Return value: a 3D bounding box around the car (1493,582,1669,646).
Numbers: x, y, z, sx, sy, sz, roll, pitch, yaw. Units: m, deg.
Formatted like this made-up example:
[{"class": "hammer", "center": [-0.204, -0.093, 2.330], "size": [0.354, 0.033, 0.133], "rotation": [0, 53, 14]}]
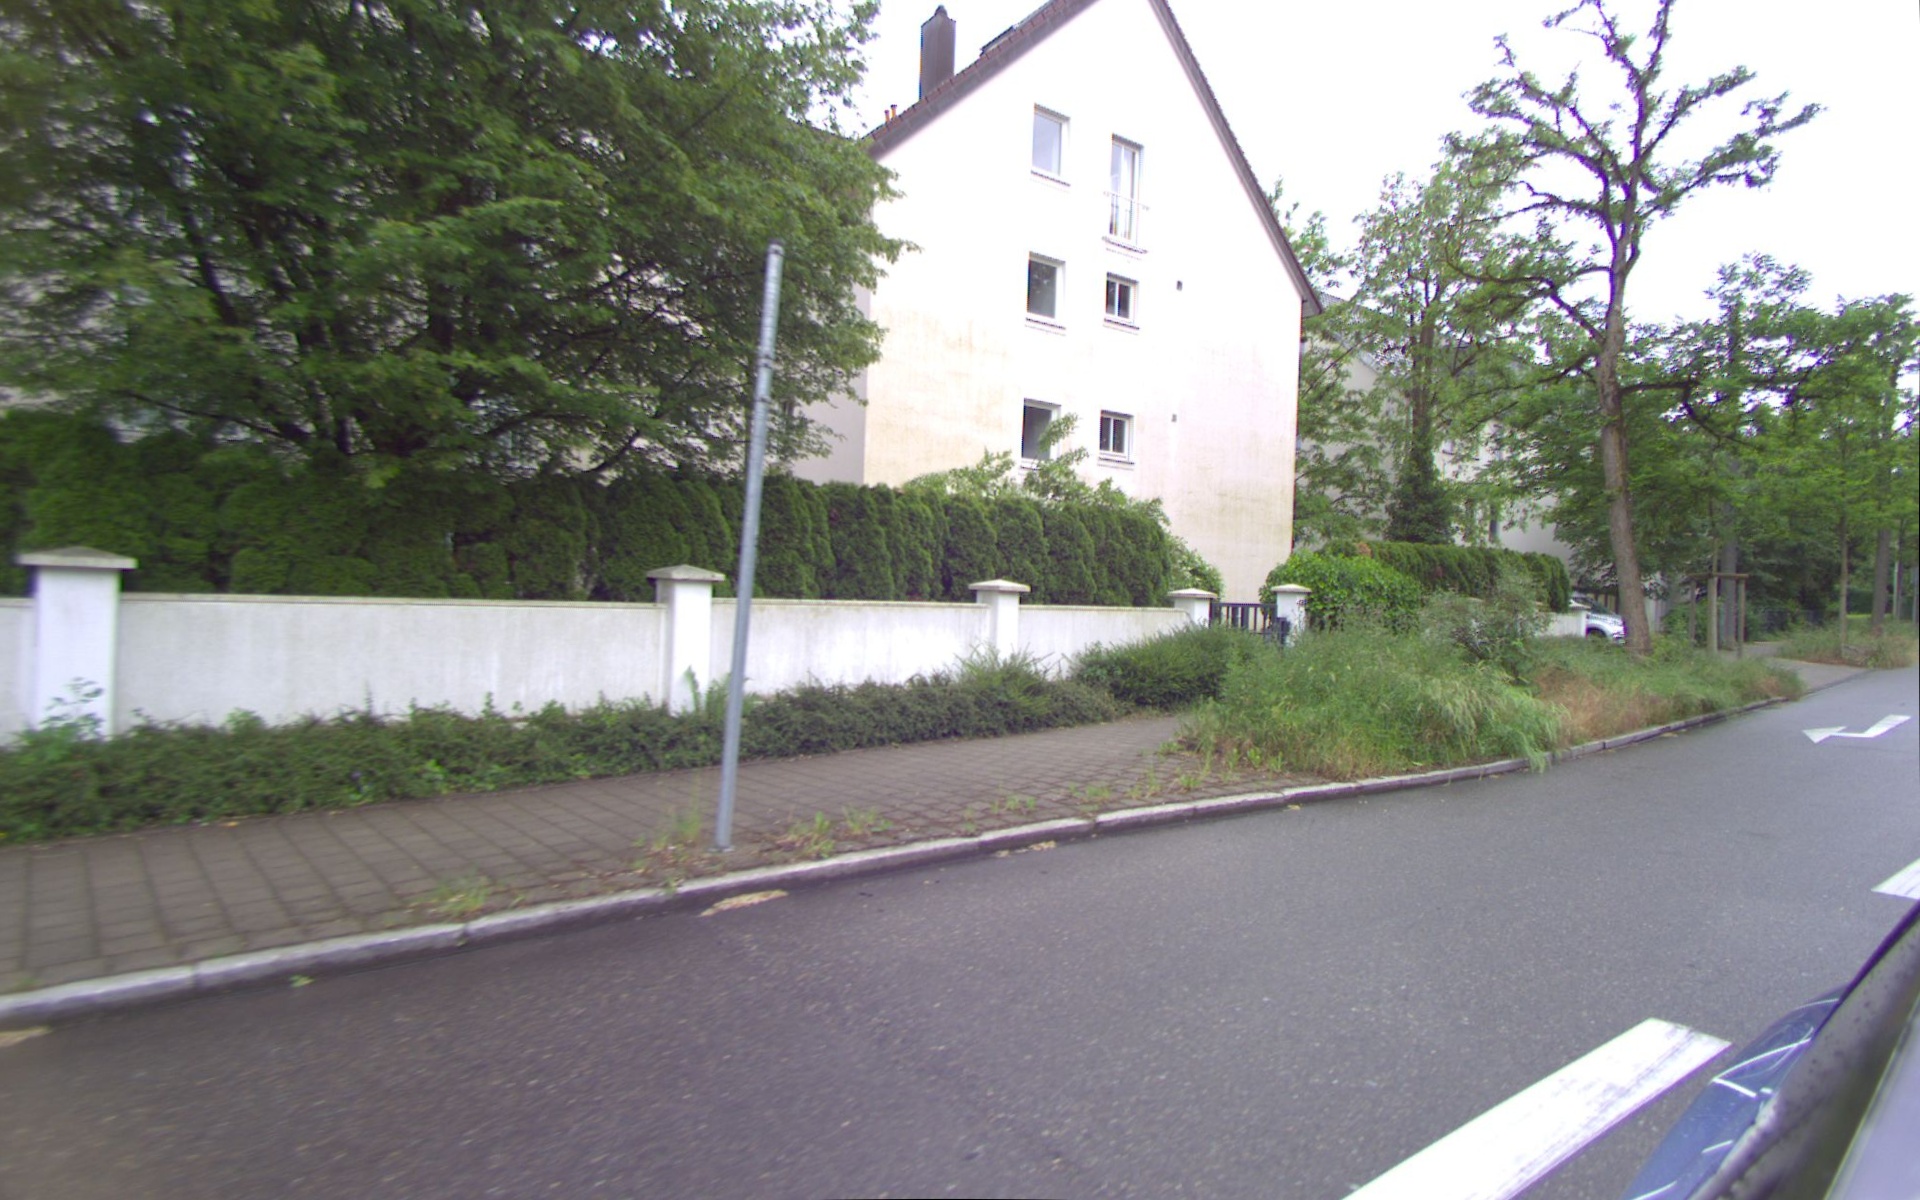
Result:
[{"class": "car", "center": [19.219, 0.382, 31.511], "size": [1.837, 1.840, 4.322], "rotation": [1, 0, -31]}]
